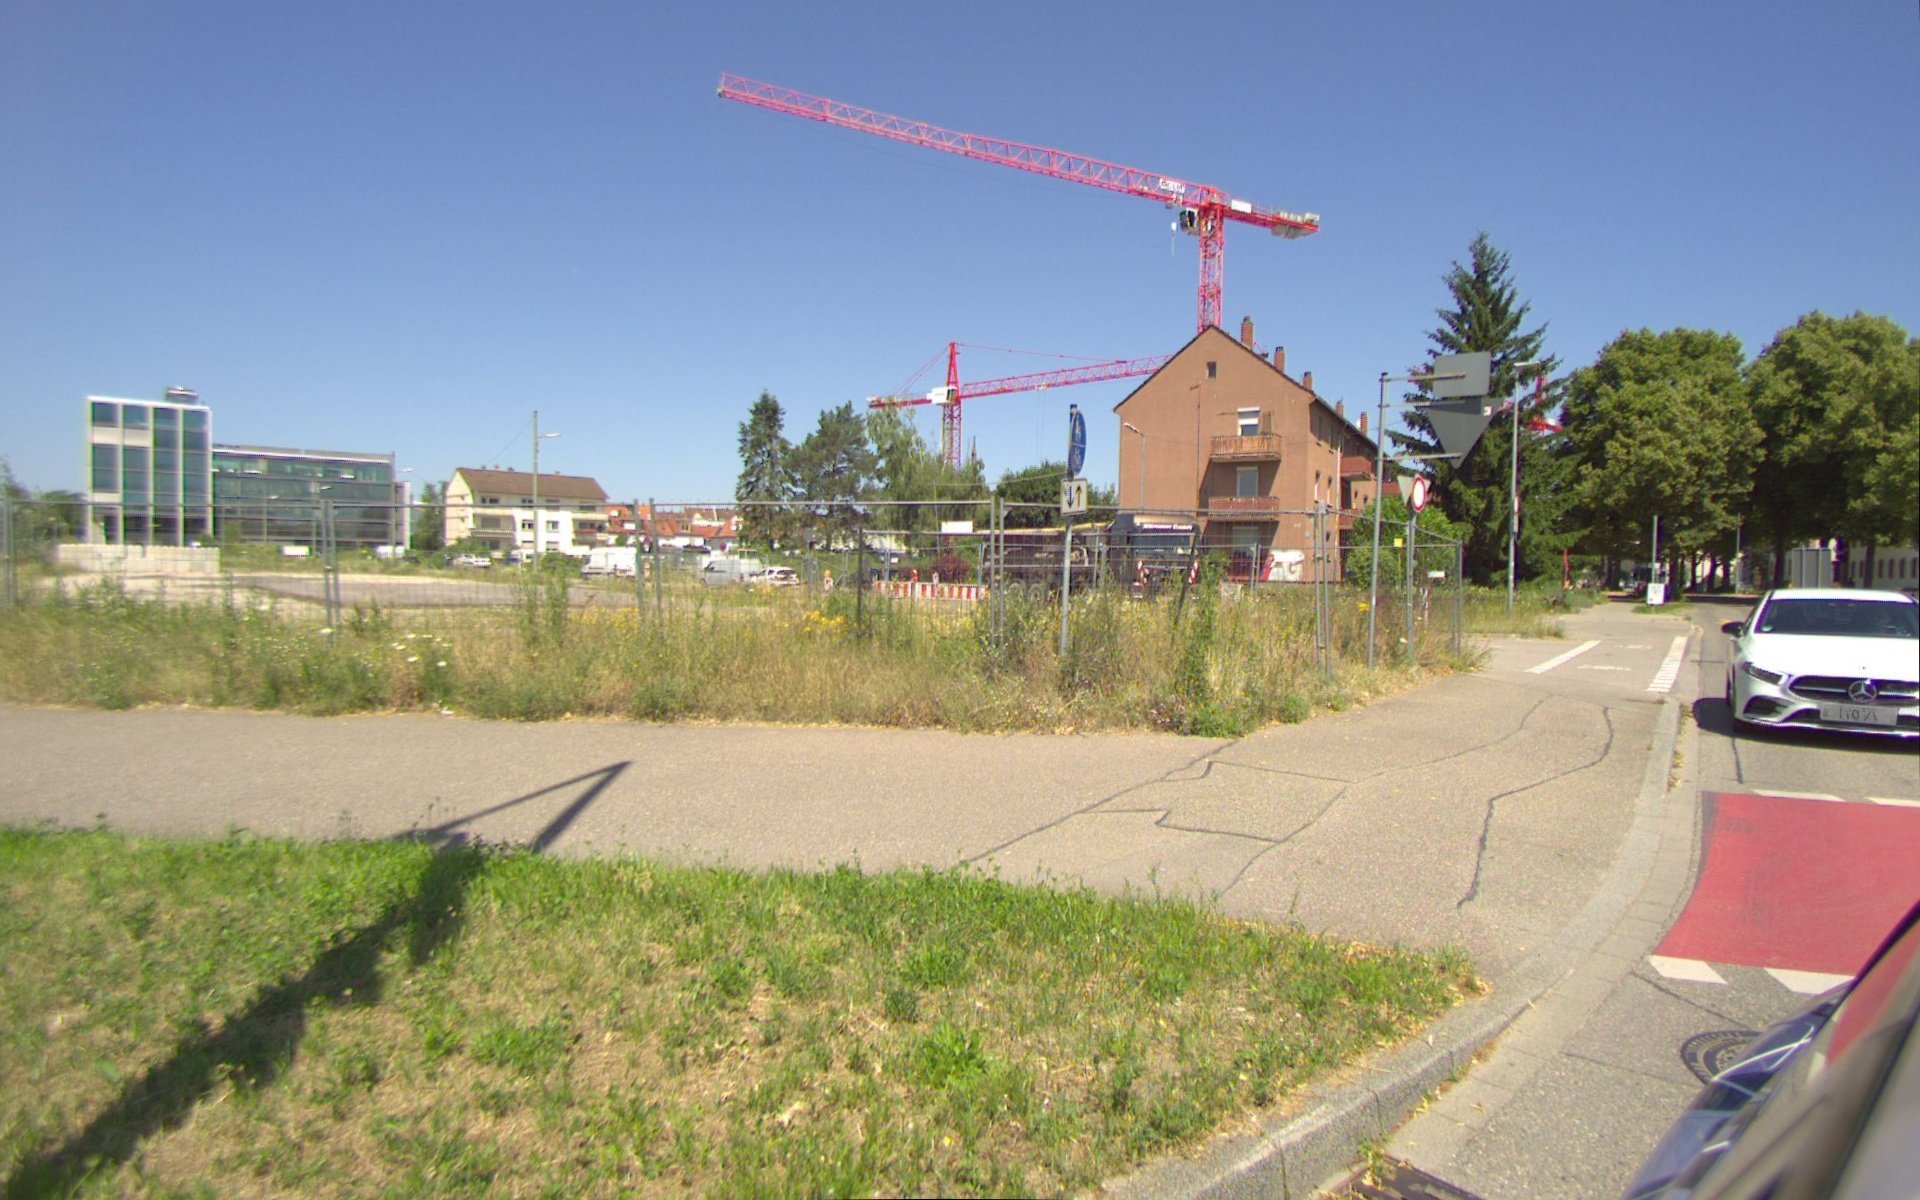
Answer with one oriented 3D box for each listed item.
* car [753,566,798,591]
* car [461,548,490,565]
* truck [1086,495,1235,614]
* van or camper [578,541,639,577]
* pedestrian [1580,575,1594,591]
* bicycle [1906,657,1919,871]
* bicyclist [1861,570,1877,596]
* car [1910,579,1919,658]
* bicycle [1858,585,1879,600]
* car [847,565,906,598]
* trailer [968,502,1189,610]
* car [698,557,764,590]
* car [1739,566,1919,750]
[{"bbox_3d":[-11.008,-1.316,60.281,1.394,1.423,2.787,-1,2,-40],"label":"car"},{"bbox_3d":[-48.326,-4.313,100.909,1.652,1.606,3.614,-2,2,-43],"label":"car"},{"bbox_3d":[6.460,-1.464,33.395,3.099,3.576,4.975,1,2,-11],"label":"truck"},{"bbox_3d":[-26.973,-3.160,77.458,1.897,2.634,6.991,0,2,-42],"label":"van or camper"},{"bbox_3d":[59.055,-1.624,95.290,1.019,1.536,0.673,2,2,38],"label":"pedestrian"},{"bbox_3d":[5.798,0.876,4.654,2.062,1.071,0.437,2,2,20],"label":"bicycle"},{"bbox_3d":[56.229,-1.057,62.601,0.564,1.630,0.732,2,2,31],"label":"bicyclist"},{"bbox_3d":[18.335,0.393,16.573,1.773,1.469,4.605,1,1,10],"label":"car"},{"bbox_3d":[56.219,-0.472,62.630,0.558,0.927,1.888,2,2,31],"label":"bicycle"},{"bbox_3d":[-4.404,-0.975,53.093,1.346,1.633,3.415,0,2,-40],"label":"car"},{"bbox_3d":[4.166,-1.626,38.273,3.104,3.576,8.996,0,2,-34],"label":"trailer"},{"bbox_3d":[-14.515,-1.693,64.094,4.665,2.038,1.758,2,2,42],"label":"car"},{"bbox_3d":[9.212,0.459,10.366,1.773,1.564,3.906,2,2,40],"label":"car"}]
